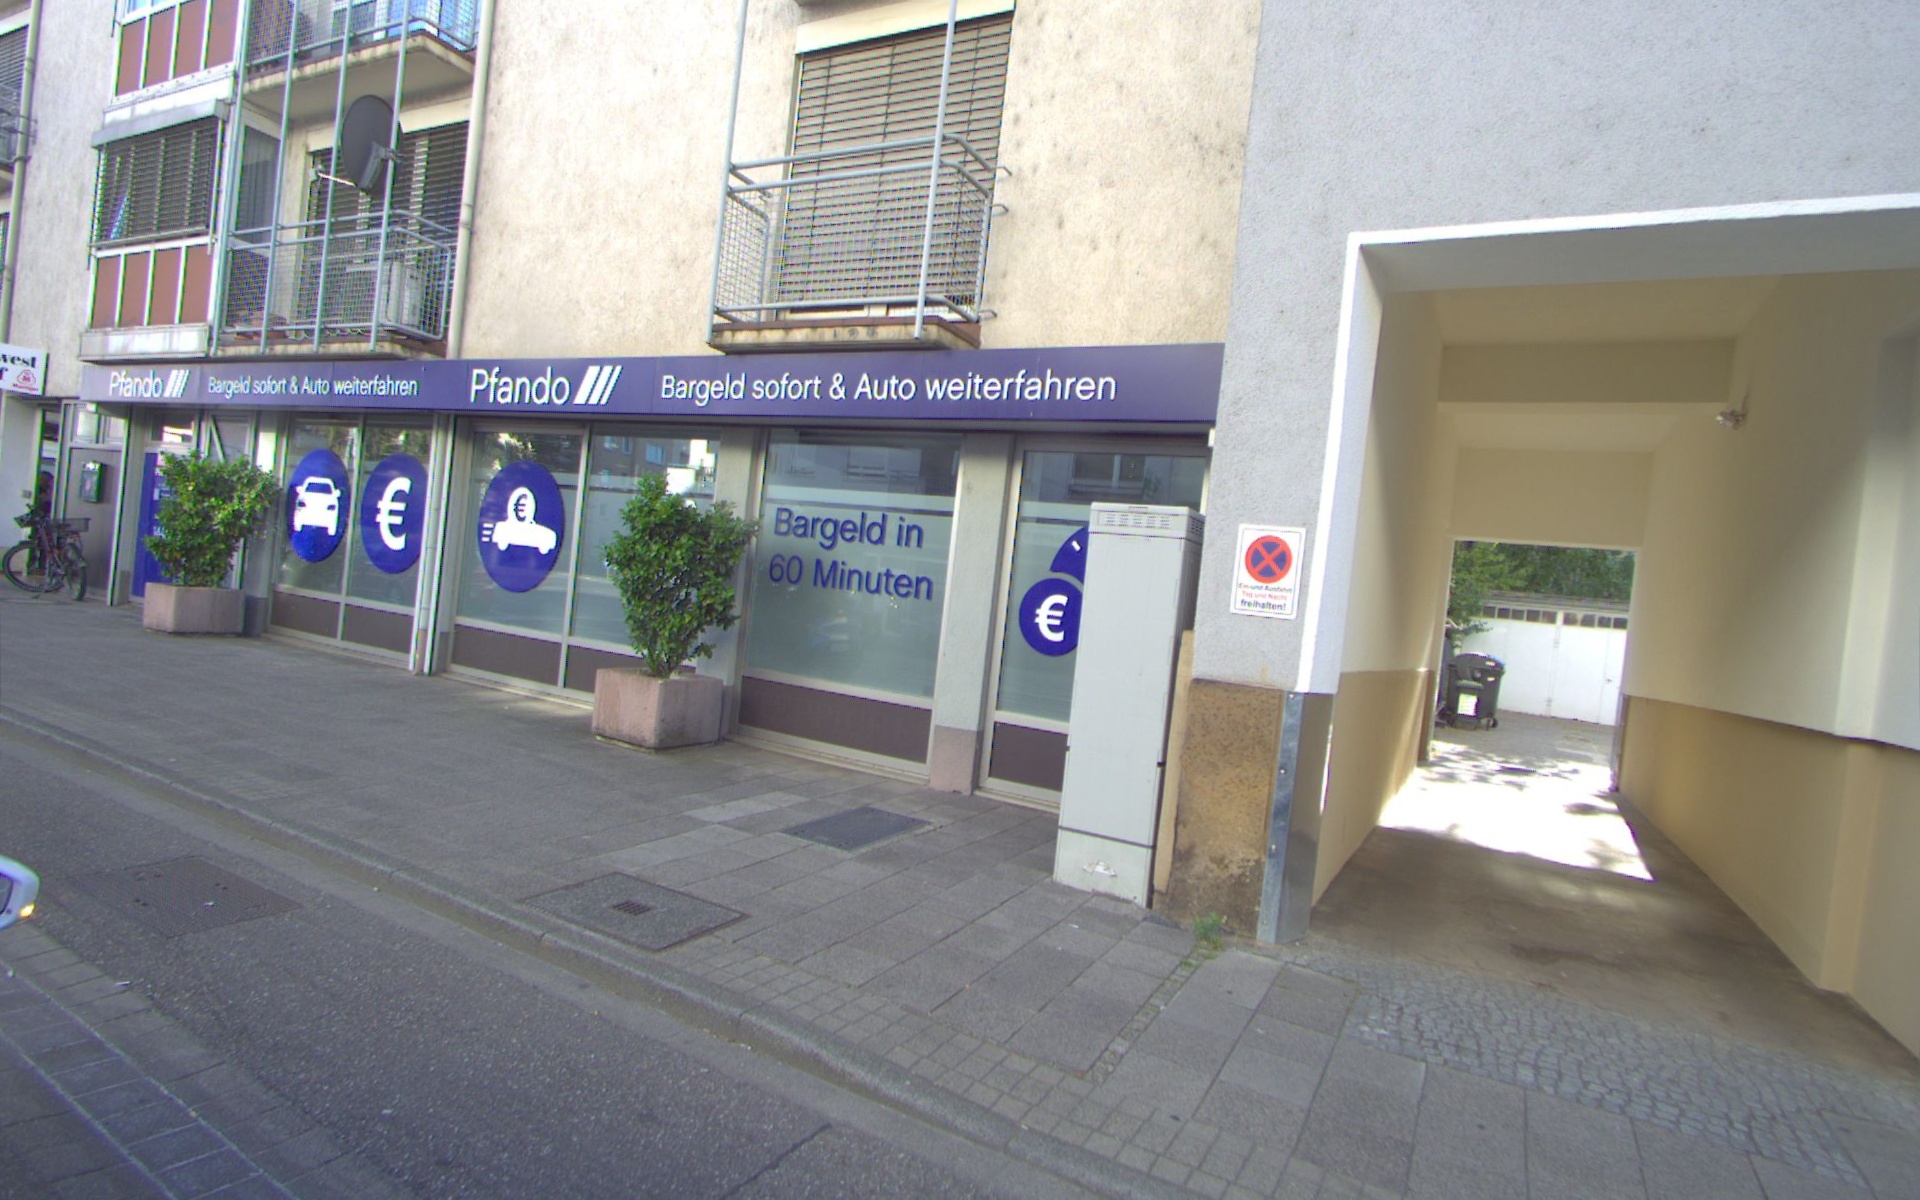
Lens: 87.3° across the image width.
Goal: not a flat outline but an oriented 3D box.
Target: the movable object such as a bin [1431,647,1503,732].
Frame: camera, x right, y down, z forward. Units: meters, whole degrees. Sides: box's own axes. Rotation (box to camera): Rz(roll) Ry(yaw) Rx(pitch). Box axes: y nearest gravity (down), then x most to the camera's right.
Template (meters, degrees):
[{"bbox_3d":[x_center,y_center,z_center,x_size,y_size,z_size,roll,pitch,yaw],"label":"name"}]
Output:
[{"bbox_3d":[10.228,1.805,20.271,1.092,1.511,1.329,6,-2,31],"label":"movable object such as a bin"}]

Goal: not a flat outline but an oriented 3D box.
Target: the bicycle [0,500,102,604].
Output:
[{"bbox_3d":[-11.690,-0.625,12.823,1.747,1.176,0.497,6,0,29],"label":"bicycle"}]

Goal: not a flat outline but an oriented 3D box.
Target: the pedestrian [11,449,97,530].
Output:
[{"bbox_3d":[-13.974,-1.691,15.531,0.667,1.102,0.624,7,2,-5],"label":"pedestrian"}]
